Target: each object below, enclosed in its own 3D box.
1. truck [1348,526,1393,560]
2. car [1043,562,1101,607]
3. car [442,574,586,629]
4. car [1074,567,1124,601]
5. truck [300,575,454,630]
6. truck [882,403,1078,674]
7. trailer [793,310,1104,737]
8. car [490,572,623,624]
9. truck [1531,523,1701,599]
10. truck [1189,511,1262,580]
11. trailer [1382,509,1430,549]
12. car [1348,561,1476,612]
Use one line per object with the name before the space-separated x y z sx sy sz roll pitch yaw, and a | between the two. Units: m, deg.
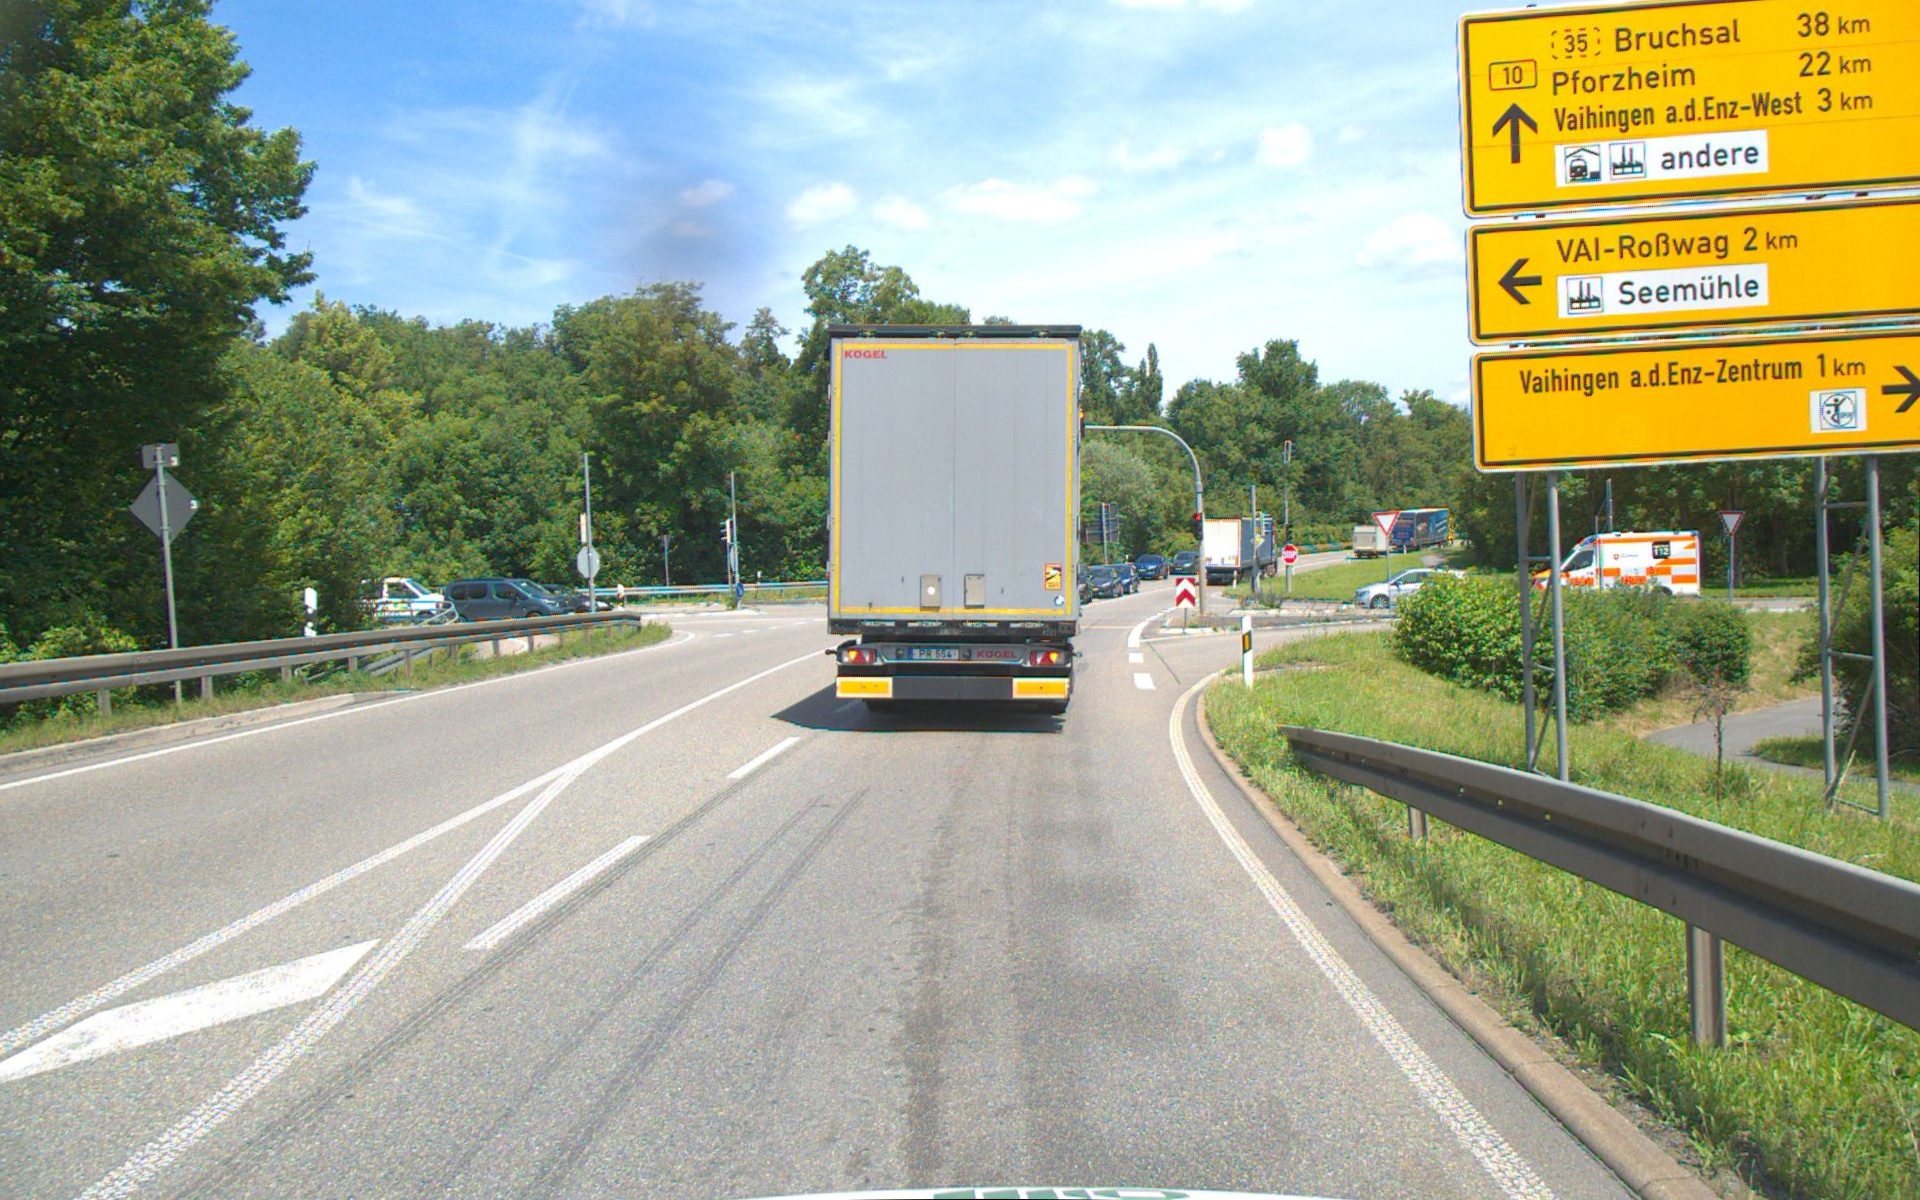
truck | 37.897 -5.225 152.538 2.799 2.999 7.100 0 1 25
car | 4.931 -0.653 72.470 1.951 1.816 4.946 1 -1 11
car | -14.813 0.051 54.997 4.143 1.801 2.002 0 0 13
car | 6.794 -0.739 80.435 1.951 1.517 4.261 1 -1 11
truck | -20.568 0.100 58.534 4.785 1.823 2.039 1 -1 -9
truck | 0.448 -0.992 28.457 2.975 4.104 6.632 0 1 2
trailer | 0.165 -0.859 22.242 2.988 4.104 12.564 0 1 3
car | -14.402 -0.060 59.114 4.143 1.801 2.002 0 0 13
truck | 25.042 -1.459 63.207 5.890 2.775 2.501 0 -1 24
truck | 16.839 -3.558 104.142 3.112 4.098 11.756 0 3 16
trailer | 45.166 -7.142 167.248 3.187 3.749 9.245 0 1 25
car | 16.578 -0.486 60.853 4.333 1.748 2.001 1 -1 8
